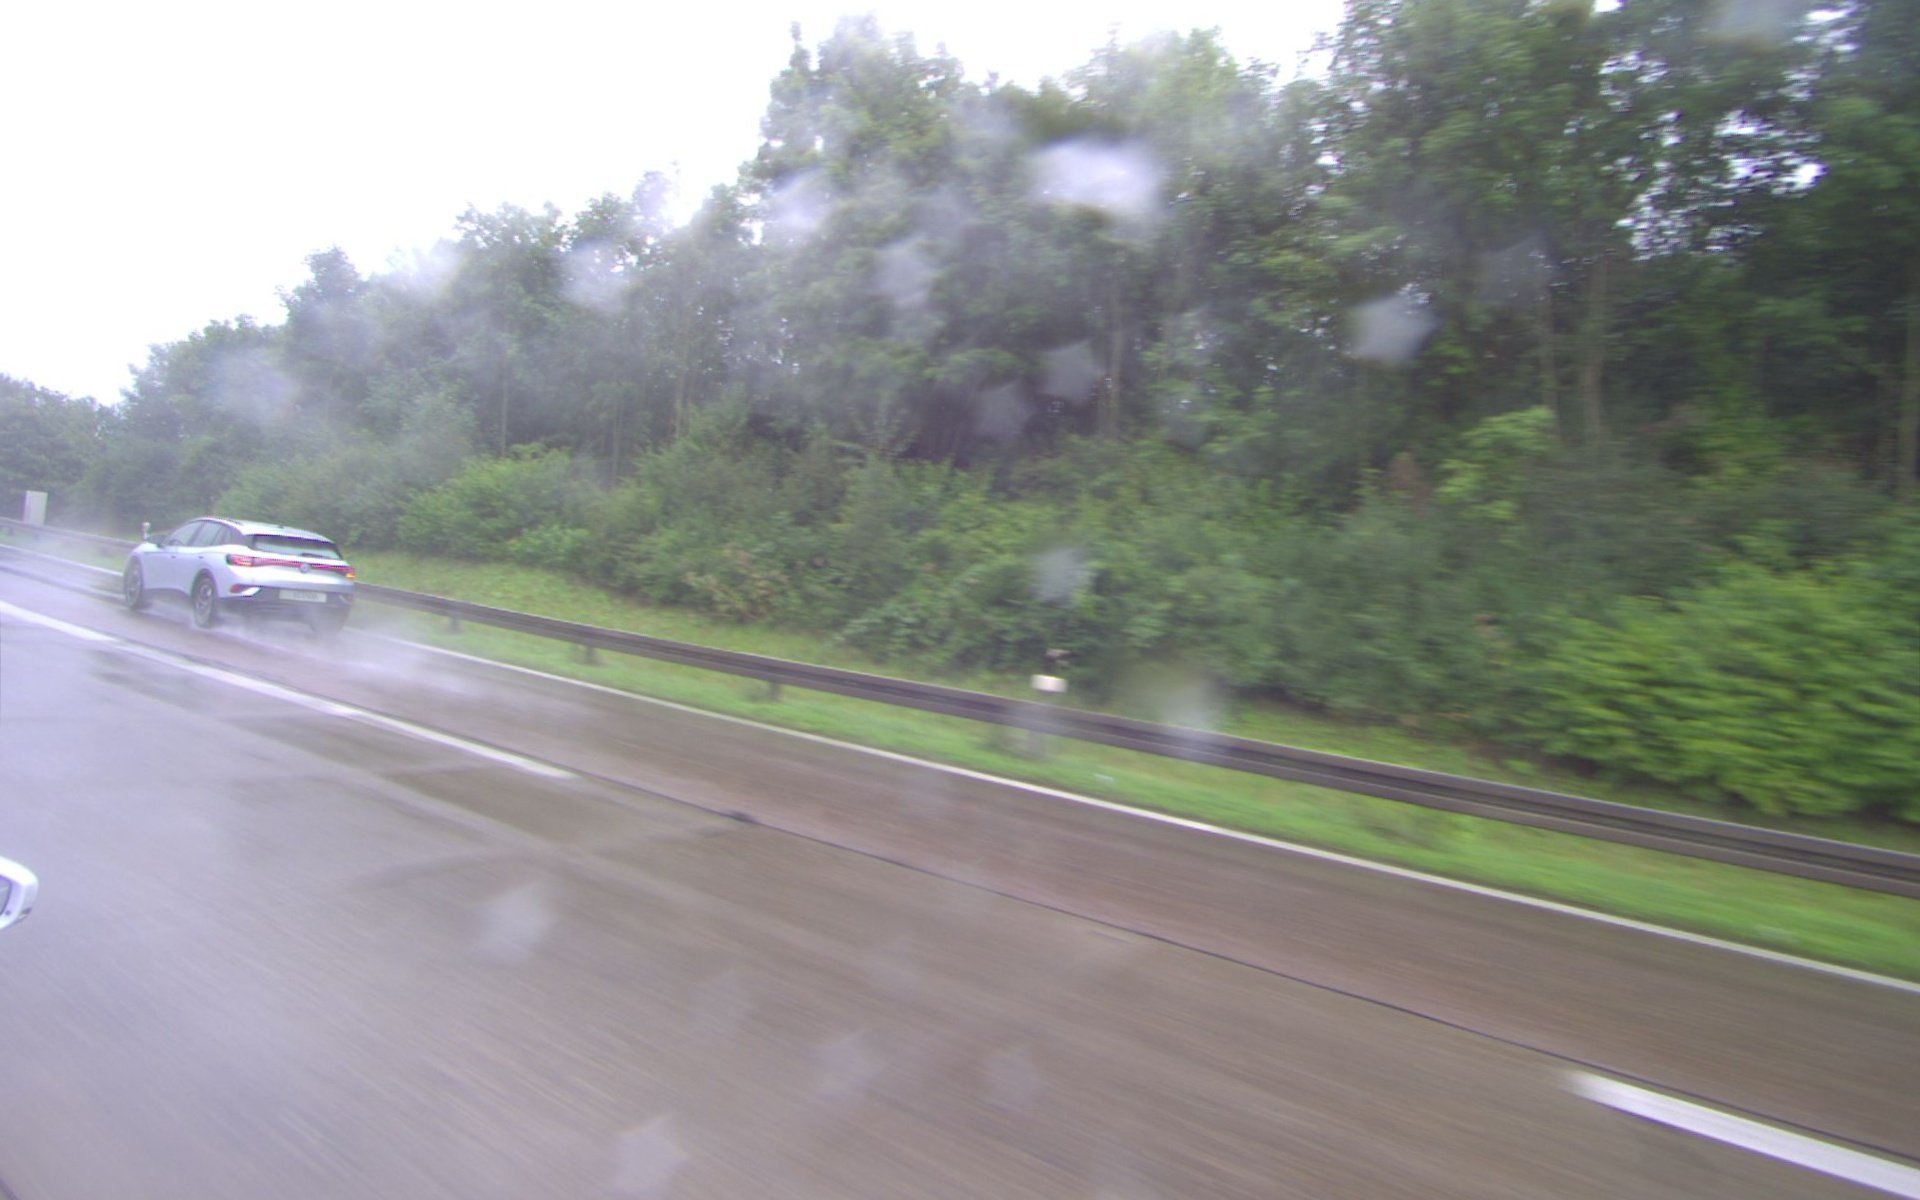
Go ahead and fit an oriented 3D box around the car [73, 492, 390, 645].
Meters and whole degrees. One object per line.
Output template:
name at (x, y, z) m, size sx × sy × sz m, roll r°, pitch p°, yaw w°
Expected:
car at (-11.631, -0.544, 15.928) m, size 5.569 × 1.771 × 1.997 m, roll 6°, pitch -2°, yaw 32°
